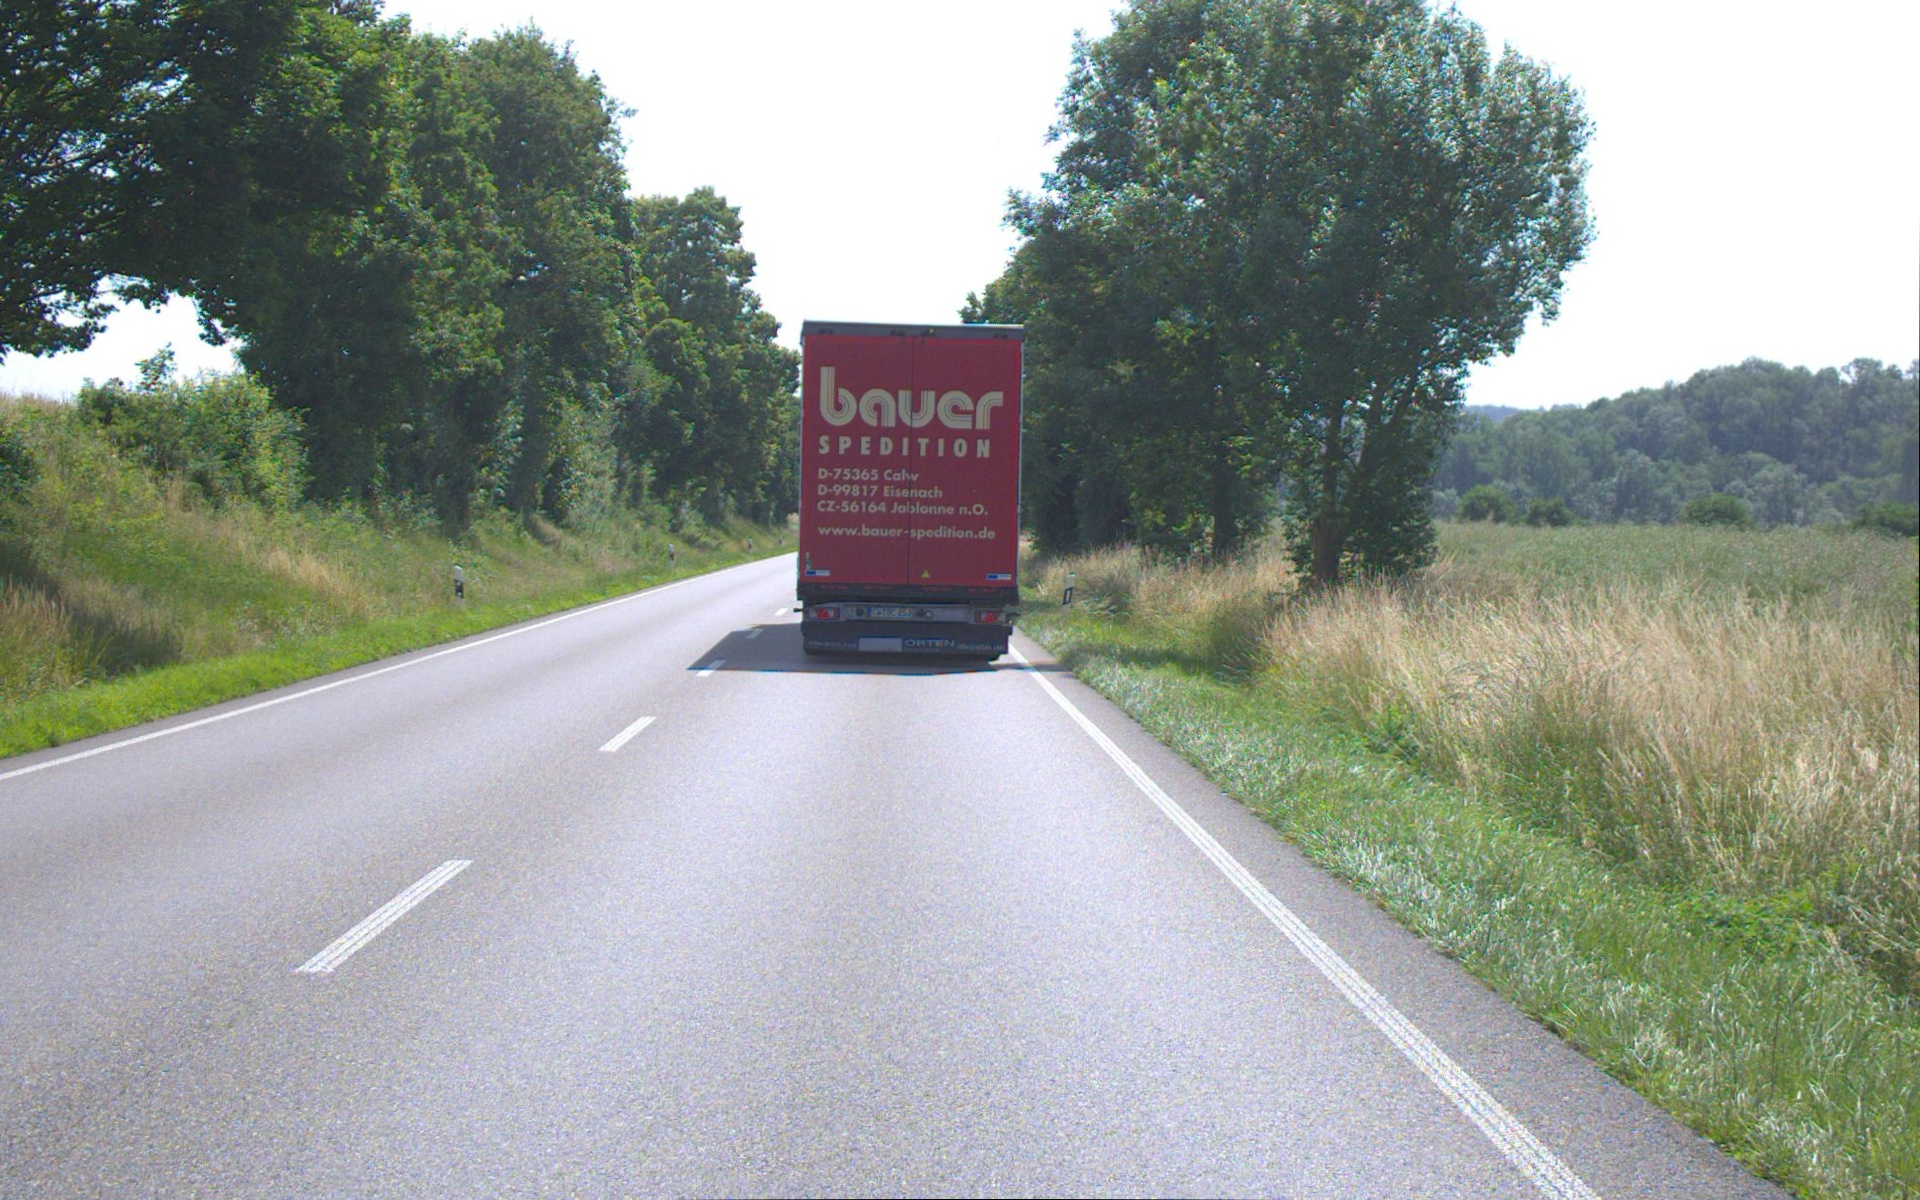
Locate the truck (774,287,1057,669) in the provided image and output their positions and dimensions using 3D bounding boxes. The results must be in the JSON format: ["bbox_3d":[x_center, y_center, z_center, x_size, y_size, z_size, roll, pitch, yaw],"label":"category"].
[{"bbox_3d":[-0.445,-1.477,43.047,3.094,4.248,8.314,2,1,1],"label":"truck"}]
